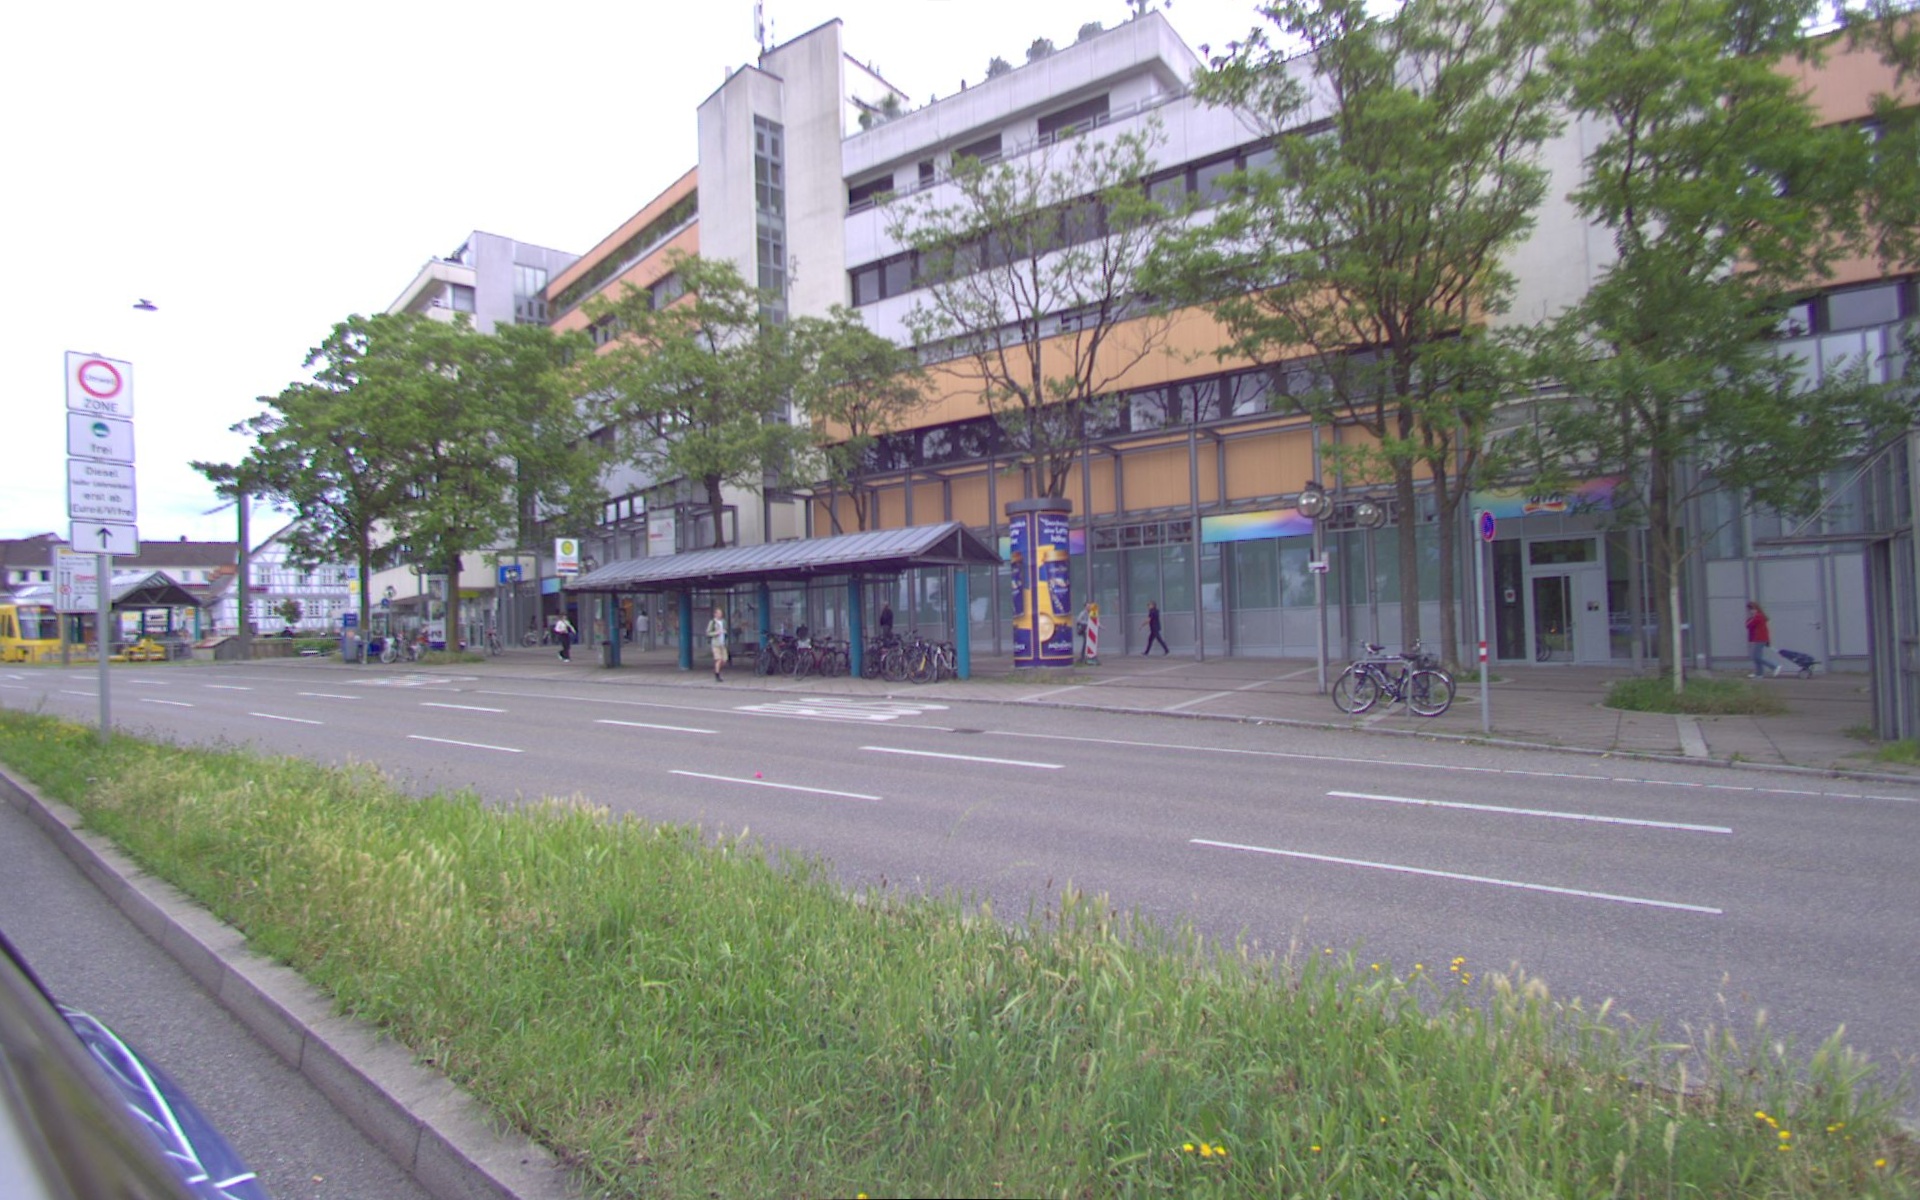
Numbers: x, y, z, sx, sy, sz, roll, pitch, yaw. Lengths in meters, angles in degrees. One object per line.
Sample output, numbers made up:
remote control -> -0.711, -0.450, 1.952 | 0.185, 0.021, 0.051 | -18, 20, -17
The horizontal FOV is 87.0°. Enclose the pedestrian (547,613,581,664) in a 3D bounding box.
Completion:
pedestrian -> -13.815, 1.344, 35.313 | 0.705, 1.725, 0.768 | -2, 0, 35

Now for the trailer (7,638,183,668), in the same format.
trailer -> -44.273, 2.714, 51.597 | 12.073, 1.343, 2.822 | -2, -2, 29

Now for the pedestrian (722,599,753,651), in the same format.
pedestrian -> -7.533, 0.834, 34.236 | 0.763, 1.729, 0.789 | -2, 0, -32

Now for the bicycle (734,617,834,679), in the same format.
bicycle -> -4.710, 1.259, 27.323 | 0.969, 1.518, 2.877 | -2, 0, 32

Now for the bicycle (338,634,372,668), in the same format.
bicycle -> -22.722, 1.898, 38.049 | 0.594, 1.170, 1.971 | -3, 0, -17

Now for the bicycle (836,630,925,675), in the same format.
bicycle -> -2.090, 1.370, 27.055 | 0.803, 1.121, 2.876 | -2, -2, 32

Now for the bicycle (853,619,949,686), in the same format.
bicycle -> -1.391, 1.238, 24.614 | 0.776, 1.518, 2.876 | -2, -2, 32

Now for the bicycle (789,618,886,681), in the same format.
bicycle -> -3.109, 1.239, 26.067 | 0.809, 1.518, 2.875 | -2, -2, 34

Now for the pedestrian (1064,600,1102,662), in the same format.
pedestrian -> 3.511, 0.878, 28.855 | 0.787, 1.729, 0.764 | -2, 0, 32

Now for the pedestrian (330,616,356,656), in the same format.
pedestrian -> -28.966, 1.692, 47.481 | 0.871, 1.891, 0.738 | -2, -2, 33

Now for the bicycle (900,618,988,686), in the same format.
bicycle -> -0.335, 1.189, 24.023 | 0.597, 1.518, 2.876 | -2, -2, 32

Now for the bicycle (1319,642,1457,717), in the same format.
bicycle -> 6.691, 1.223, 15.833 | 1.926, 1.092, 0.825 | -2, -2, 27

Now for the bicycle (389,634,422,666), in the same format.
bicycle -> -21.409, 1.928, 39.066 | 1.966, 1.170, 0.596 | -3, -3, 44

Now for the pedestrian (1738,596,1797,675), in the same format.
pedestrian -> 16.759, 0.742, 21.022 | 0.822, 1.598, 0.629 | -1, -2, 31

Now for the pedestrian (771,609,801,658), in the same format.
pedestrian -> -5.908, 1.132, 34.379 | 0.705, 1.595, 0.660 | -2, 0, 35

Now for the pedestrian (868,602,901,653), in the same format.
pedestrian -> -2.647, 0.957, 35.512 | 0.790, 1.729, 0.761 | -2, 0, 44

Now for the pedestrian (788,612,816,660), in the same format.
pedestrian -> -5.448, 1.232, 34.900 | 0.621, 1.612, 0.627 | -2, 0, 35

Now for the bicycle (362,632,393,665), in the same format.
bicycle -> -21.853, 1.813, 38.003 | 0.594, 1.170, 1.971 | -1, -2, -18

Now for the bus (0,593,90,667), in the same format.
bus -> -58.092, 1.936, 59.696 | 19.256, 3.889, 3.851 | -2, -2, 29

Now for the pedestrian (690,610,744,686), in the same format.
pedestrian -> -6.152, 1.199, 25.616 | 1.212, 1.836, 0.697 | -1, 0, 38

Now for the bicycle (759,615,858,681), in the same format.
bicycle -> -3.945, 1.233, 26.645 | 0.888, 1.518, 2.877 | -2, 1, 32

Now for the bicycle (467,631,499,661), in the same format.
bicycle -> -19.169, 1.835, 40.669 | 0.663, 1.170, 2.023 | -1, -2, -10

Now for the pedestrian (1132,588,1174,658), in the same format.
pedestrian -> 5.740, 0.677, 30.037 | 0.932, 2.029, 0.888 | -2, -2, 35

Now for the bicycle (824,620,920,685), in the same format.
bicycle -> -2.141, 1.255, 25.097 | 0.803, 1.518, 2.876 | -2, -2, 32

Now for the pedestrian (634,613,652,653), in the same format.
pedestrian -> -13.153, 1.361, 41.986 | 0.623, 1.612, 0.624 | -2, 0, -18

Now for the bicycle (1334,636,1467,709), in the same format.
bicycle -> 7.280, 1.183, 16.766 | 1.946, 1.145, 0.709 | -2, -2, 27

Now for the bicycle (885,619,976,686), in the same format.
bicycle -> -0.658, 1.211, 24.198 | 0.698, 1.518, 2.876 | -2, -2, 32

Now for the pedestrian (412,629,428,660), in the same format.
pedestrian -> -30.067, 2.467, 56.397 | 0.626, 1.713, 0.545 | -2, -2, 31

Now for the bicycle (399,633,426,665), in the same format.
bicycle -> -20.501, 1.826, 37.916 | 0.594, 1.170, 1.694 | -1, -2, -18

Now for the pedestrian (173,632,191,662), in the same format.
pedestrian -> -41.667, 2.541, 54.185 | 0.618, 1.585, 0.594 | -2, -2, 30
